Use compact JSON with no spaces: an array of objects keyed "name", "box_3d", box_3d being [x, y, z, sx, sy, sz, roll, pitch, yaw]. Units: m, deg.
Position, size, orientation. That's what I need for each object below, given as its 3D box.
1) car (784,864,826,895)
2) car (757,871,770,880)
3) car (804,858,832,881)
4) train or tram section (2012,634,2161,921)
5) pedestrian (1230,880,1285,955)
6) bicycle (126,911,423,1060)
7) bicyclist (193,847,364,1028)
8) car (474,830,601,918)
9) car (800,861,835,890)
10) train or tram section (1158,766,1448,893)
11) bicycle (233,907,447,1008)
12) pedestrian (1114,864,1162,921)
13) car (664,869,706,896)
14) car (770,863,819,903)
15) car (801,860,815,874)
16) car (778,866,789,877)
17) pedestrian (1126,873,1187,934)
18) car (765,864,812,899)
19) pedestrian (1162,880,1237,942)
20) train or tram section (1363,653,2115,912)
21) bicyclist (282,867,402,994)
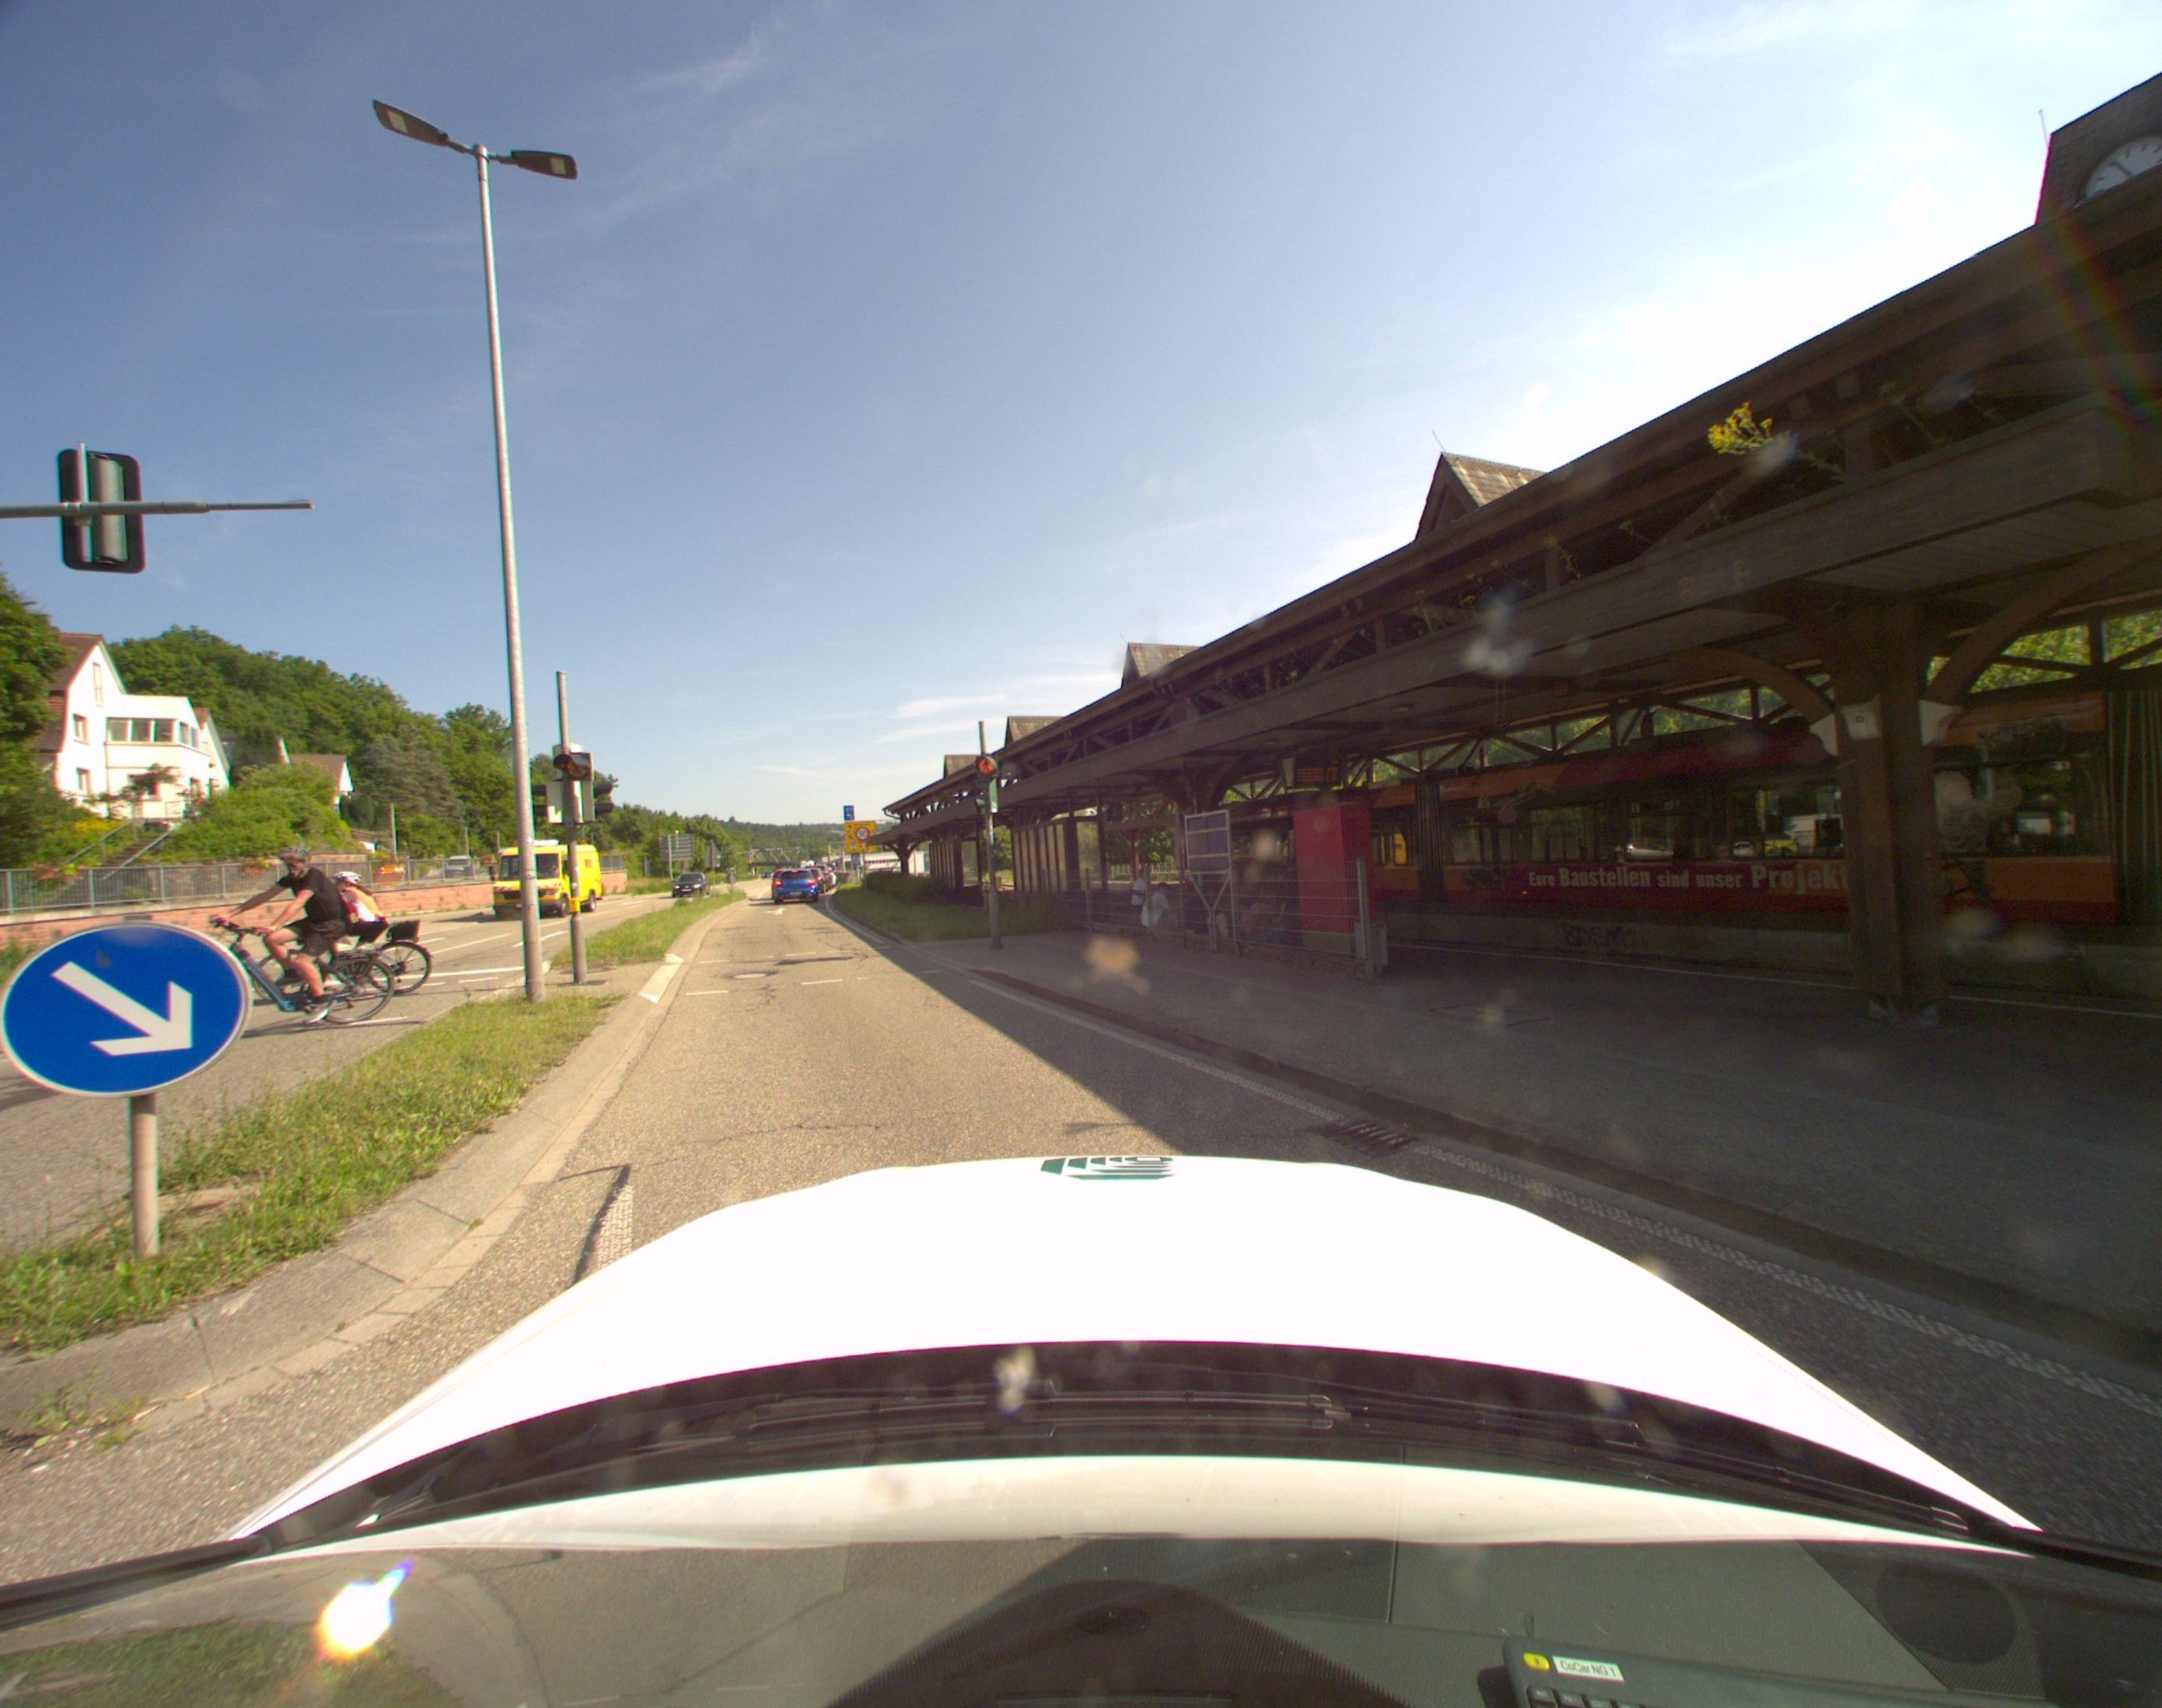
[{"name":"car","box_3d":[-15.453,1.391,45.824,1.999,1.531,4.575,-3,0,-17]},{"name":"car","box_3d":[-57.709,3.893,148.161,1.795,1.470,4.690,-2,0,-16]},{"name":"car","box_3d":[-21.010,1.256,65.125,1.998,1.736,3.977,-1,0,-17]},{"name":"train or tram section","box_3d":[16.477,-1.073,4.758,2.870,3.365,14.235,-2,0,-25]},{"name":"pedestrian","box_3d":[2.433,0.862,11.230,0.620,0.966,0.403,-1,0,-27]},{"name":"bicycle","box_3d":[-8.081,1.243,8.299,0.726,1.162,2.012,-1,0,26]},{"name":"bicyclist","box_3d":[-8.098,0.778,8.246,0.797,1.691,0.999,-1,0,26]},{"name":"car","box_3d":[-20.784,0.747,31.554,2.475,3.011,6.424,-1,-1,-19]},{"name":"car","box_3d":[-16.724,1.335,51.784,1.998,1.686,4.471,-1,0,-17]},{"name":"train or tram section","box_3d":[6.623,-0.618,27.568,2.767,3.364,11.958,-1,0,-22]},{"name":"bicycle","box_3d":[-9.956,1.355,11.055,1.979,1.064,0.728,-4,2,-30]},{"name":"pedestrian","box_3d":[1.181,0.787,16.927,0.746,1.116,0.661,-1,0,-27]},{"name":"car","box_3d":[-23.629,1.663,48.725,1.751,1.462,4.017,-3,0,-19]},{"name":"car","box_3d":[-12.428,1.223,35.372,1.874,1.548,3.974,-2,0,-19]},{"name":"car","box_3d":[-42.485,2.042,126.601,1.999,2.144,4.689,-1,-1,-19]},{"name":"car","box_3d":[-57.707,3.428,157.987,2.000,2.013,3.974,-2,0,-19]},{"name":"pedestrian","box_3d":[1.300,0.845,14.088,0.746,0.982,0.762,-1,0,-26]},{"name":"car","box_3d":[-14.517,1.337,40.616,1.998,1.571,3.976,-2,-1,-17]},{"name":"pedestrian","box_3d":[1.841,0.875,12.725,0.849,0.874,0.801,-1,0,-26]},{"name":"train or tram section","box_3d":[11.143,-0.807,16.621,2.799,3.364,11.953,-1,-1,-23]},{"name":"bicyclist","box_3d":[-9.927,0.988,10.992,0.960,1.564,0.799,-3,1,-29]}]
